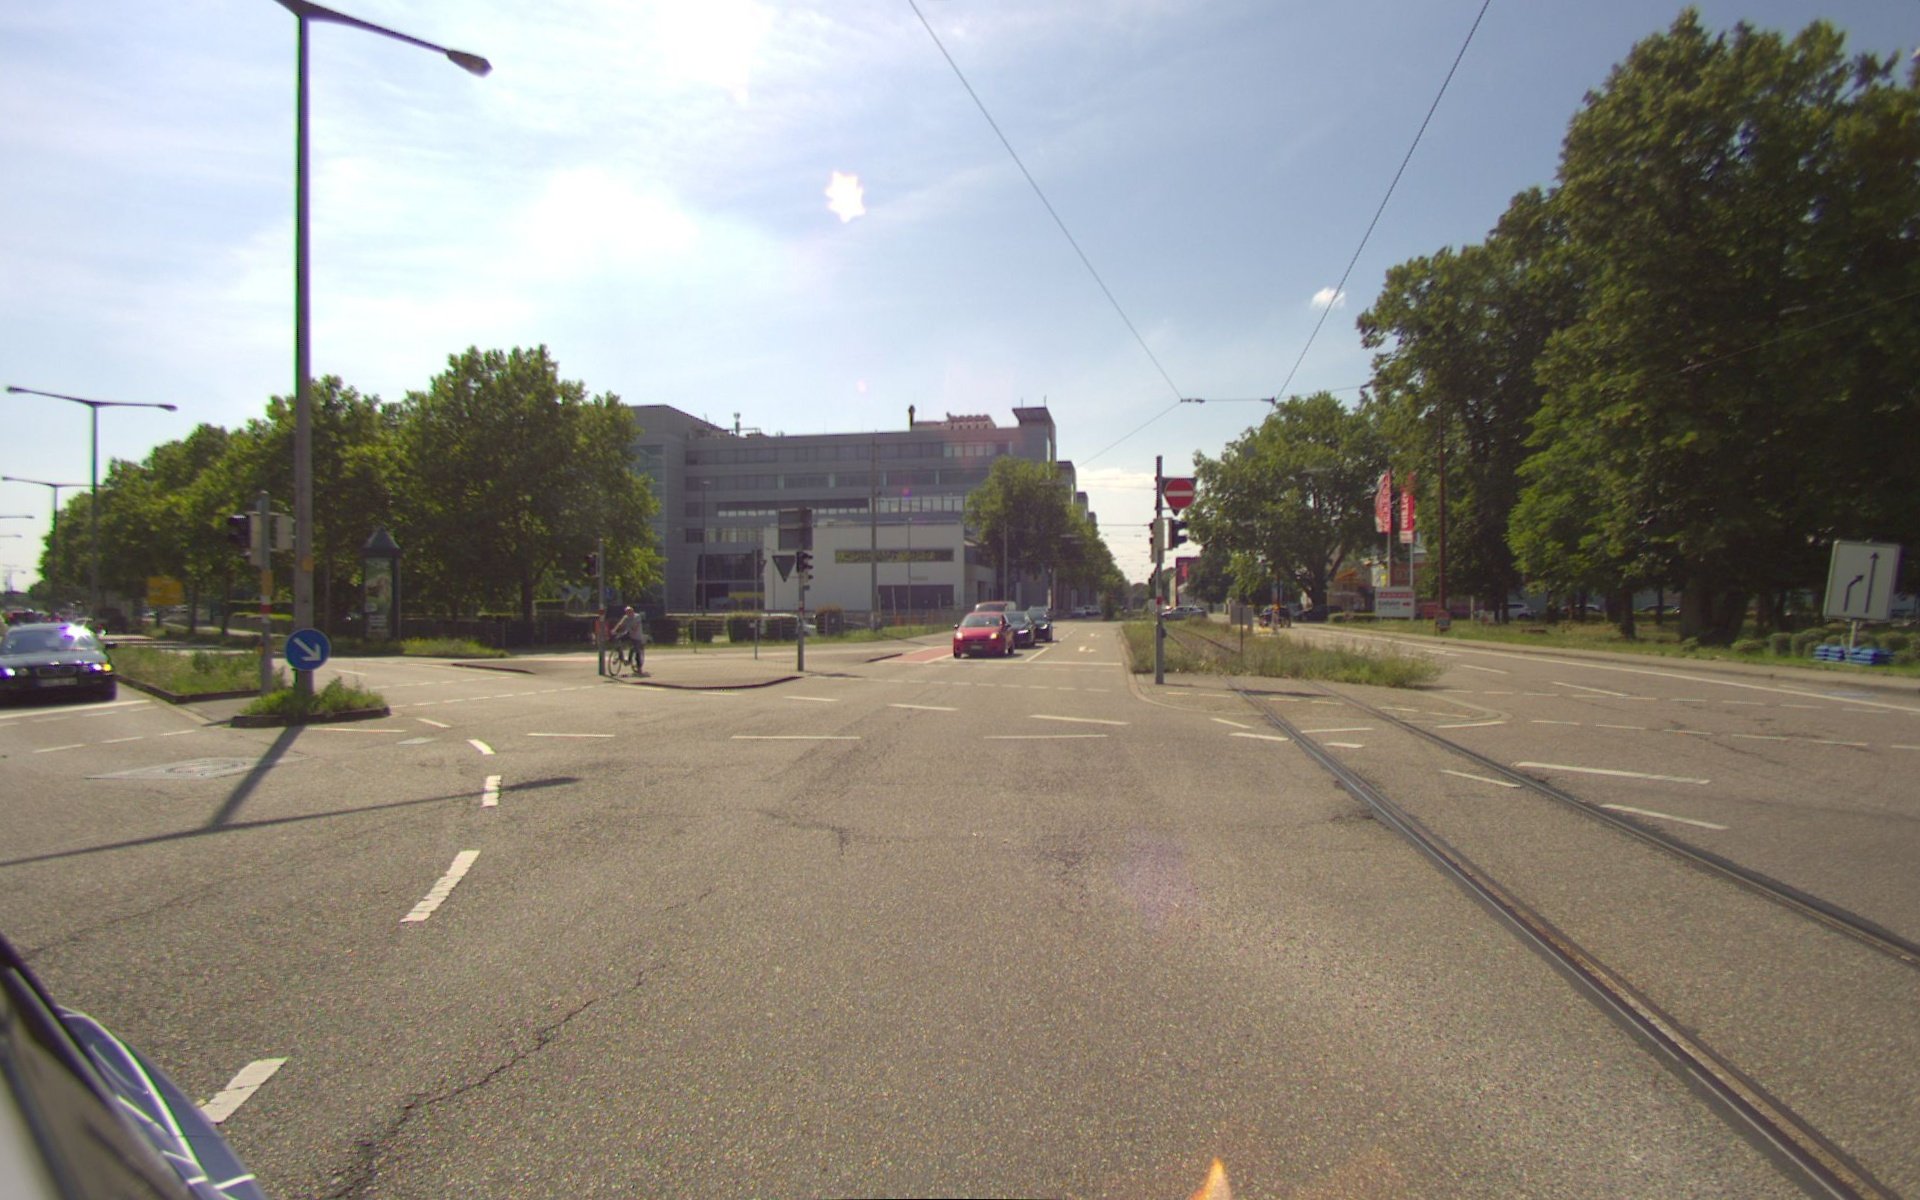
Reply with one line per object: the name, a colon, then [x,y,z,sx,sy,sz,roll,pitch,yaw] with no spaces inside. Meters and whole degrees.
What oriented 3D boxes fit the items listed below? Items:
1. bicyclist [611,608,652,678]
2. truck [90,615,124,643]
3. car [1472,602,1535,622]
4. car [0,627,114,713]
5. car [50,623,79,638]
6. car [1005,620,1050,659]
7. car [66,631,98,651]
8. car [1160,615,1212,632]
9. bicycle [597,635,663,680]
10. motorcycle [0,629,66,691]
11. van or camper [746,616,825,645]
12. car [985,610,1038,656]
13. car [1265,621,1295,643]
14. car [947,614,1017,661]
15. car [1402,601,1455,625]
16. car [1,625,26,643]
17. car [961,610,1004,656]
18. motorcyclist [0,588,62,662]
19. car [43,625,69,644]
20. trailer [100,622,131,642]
bicyclist: [-8.582,1.118,26.446,0.699,1.802,0.764,-1,-1,15]
truck: [-81.102,2.759,96.201,2.114,2.494,7.135,0,-1,-43]
car: [46.513,1.037,86.709,4.338,1.576,1.867,-1,-1,13]
car: [-17.071,1.232,18.745,4.068,1.372,1.707,-2,0,44]
car: [-88.985,3.031,100.595,3.767,1.445,1.828,-1,-1,43]
car: [3.133,1.814,47.254,1.974,1.712,3.996,-1,-1,3]
car: [-69.222,3.192,79.777,3.737,1.525,1.630,-2,-1,45]
car: [20.346,2.127,91.123,4.205,1.454,1.772,-1,-1,30]
bicycle: [-8.579,1.471,26.399,0.521,1.072,2.155,-1,-1,15]
motorcycle: [-21.810,1.382,23.777,2.332,1.361,1.037,-2,-1,44]
van or camper: [-10.827,1.893,63.035,4.459,1.704,1.995,-1,-1,8]
car: [1.991,1.267,40.225,1.973,1.712,3.997,-1,-1,2]
car: [23.066,2.292,73.061,1.773,1.454,4.201,-1,-1,15]
car: [0.802,1.203,33.590,1.826,1.460,3.989,-1,-1,9]
car: [40.244,1.126,86.894,3.981,2.029,1.981,-1,-1,28]
car: [-110.495,3.946,118.140,1.971,2.029,4.002,0,-1,-45]
car: [1.256,1.732,54.444,2.124,2.295,5.036,-1,-1,3]
motorcyclist: [-22.030,0.583,23.979,1.042,1.712,1.051,-2,-1,44]
car: [-100.895,3.822,112.881,1.971,2.029,4.002,0,-1,-45]
trailer: [-77.076,2.898,92.365,2.037,1.729,3.995,0,-1,-42]
